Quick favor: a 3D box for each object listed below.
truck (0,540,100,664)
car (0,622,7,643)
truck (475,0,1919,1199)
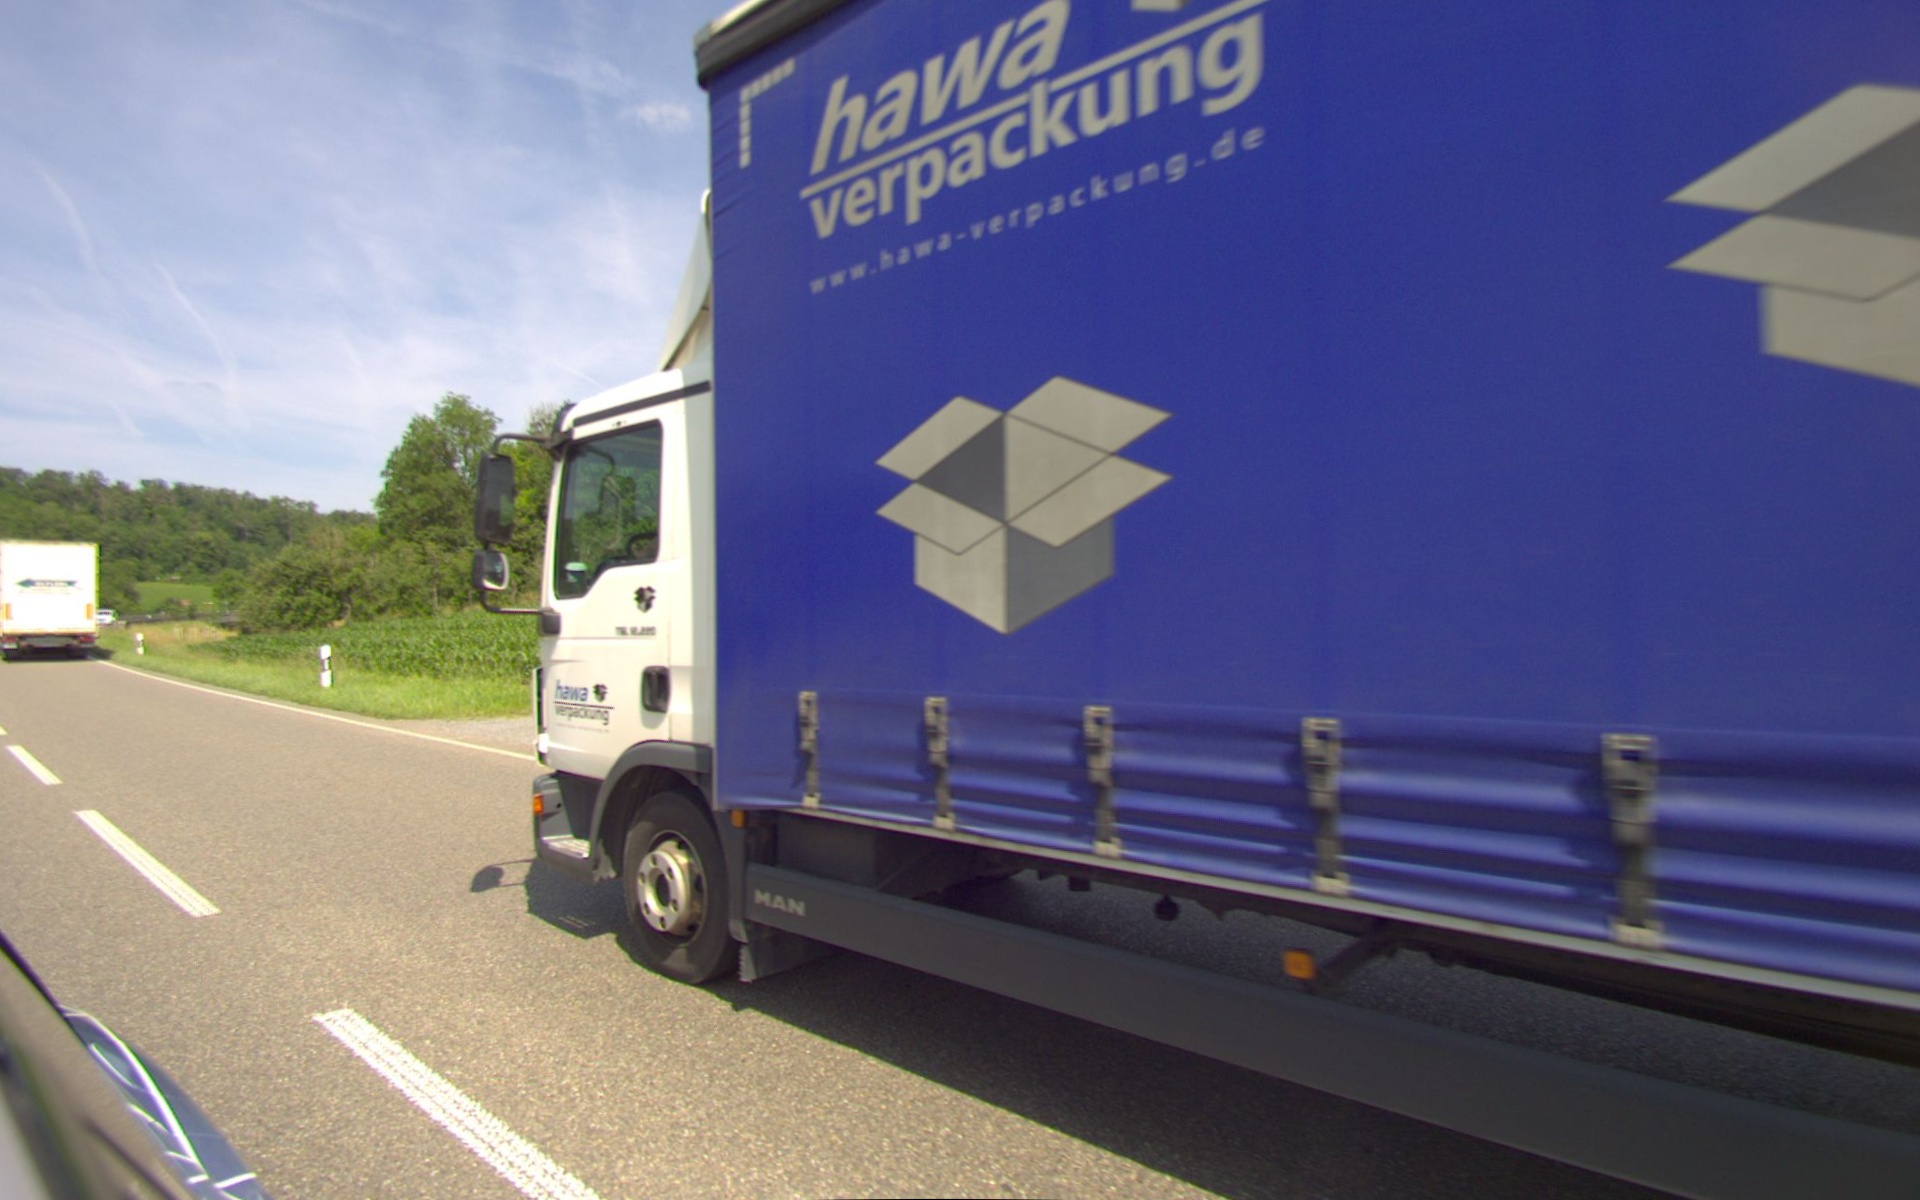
[{"bbox_3d":[-36.531,0.223,39.829,2.739,4.029,17.036,1,-1,-45],"label":"truck"},{"bbox_3d":[-71.732,2.406,74.561,1.715,1.465,4.045,0,0,-36],"label":"car"},{"bbox_3d":[2.290,-0.330,2.528,9.721,3.606,2.713,-1,-1,41],"label":"truck"}]
